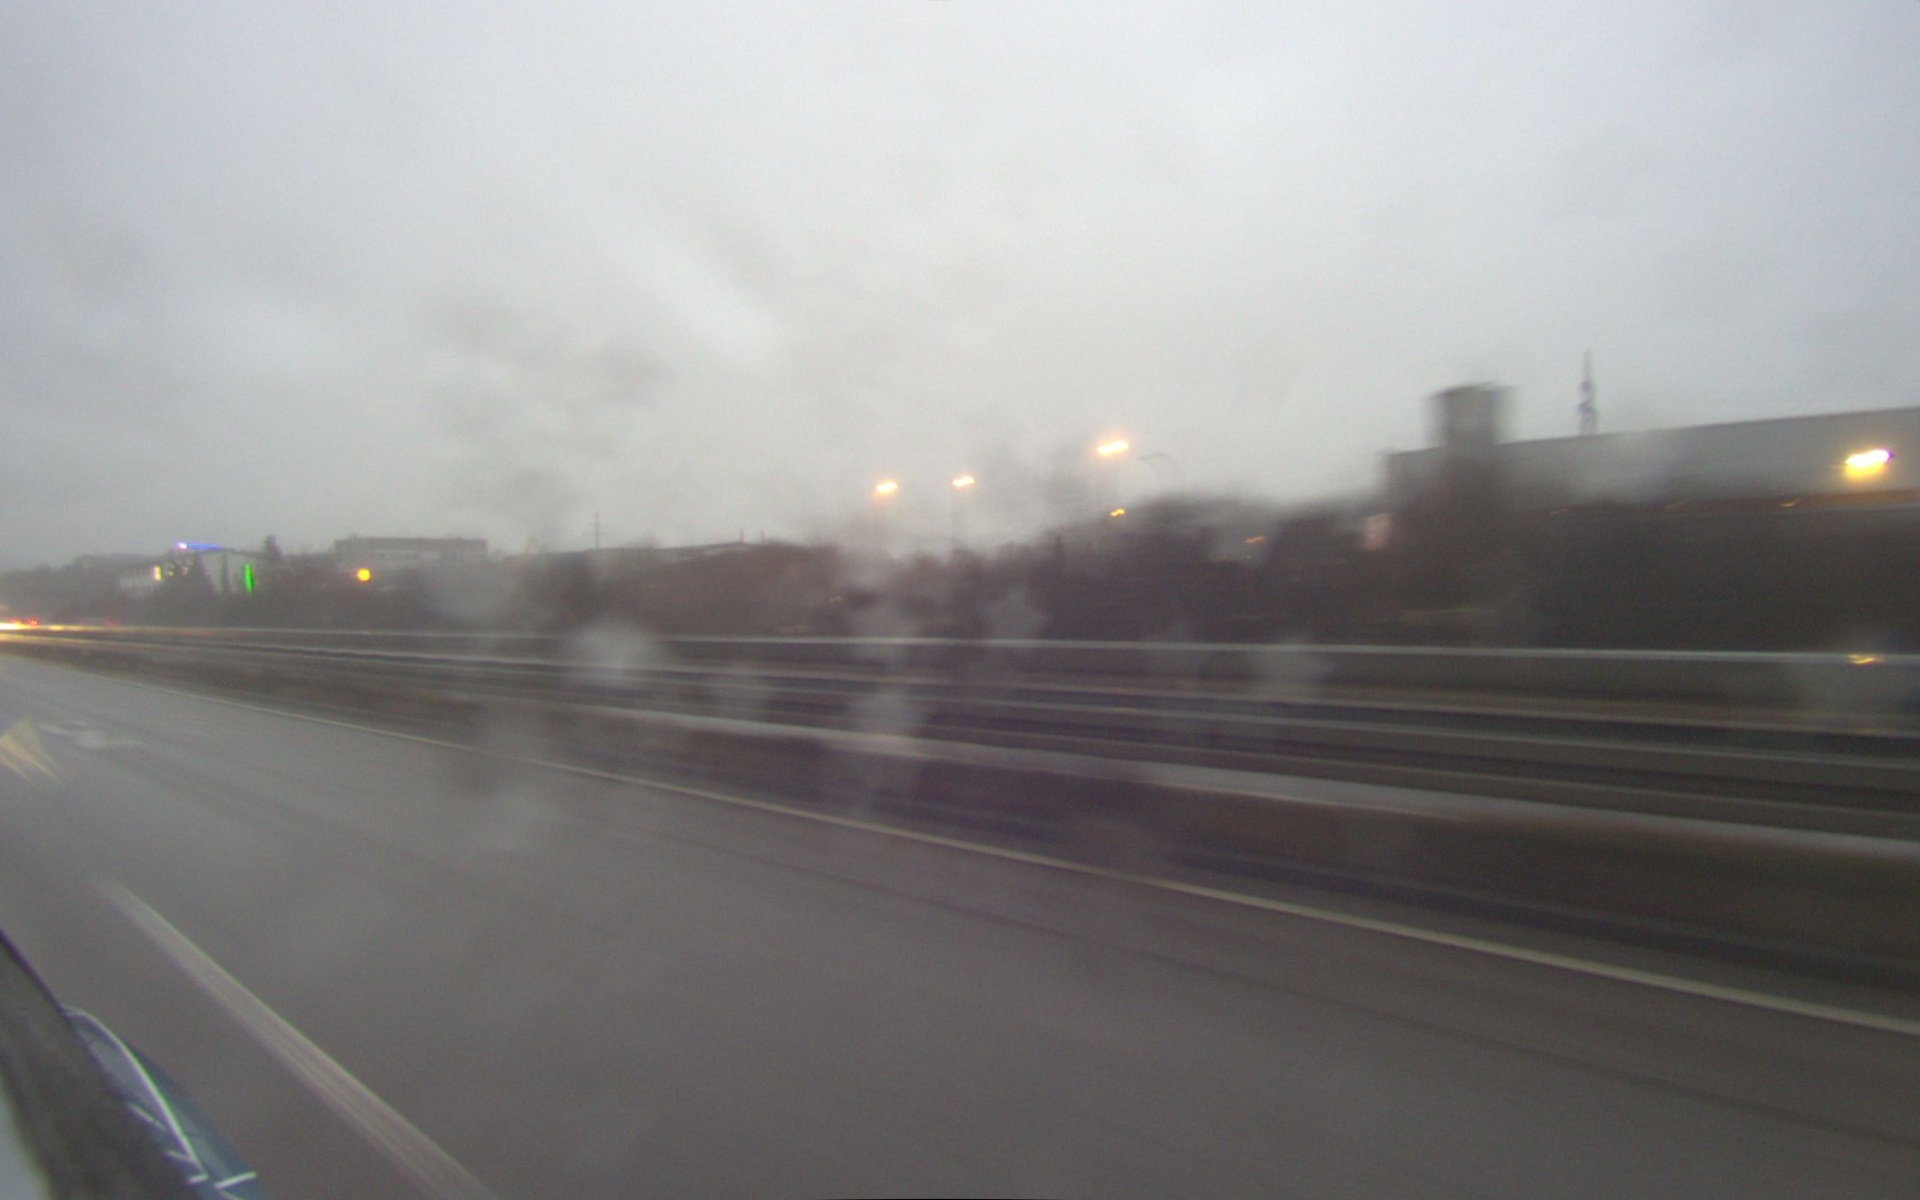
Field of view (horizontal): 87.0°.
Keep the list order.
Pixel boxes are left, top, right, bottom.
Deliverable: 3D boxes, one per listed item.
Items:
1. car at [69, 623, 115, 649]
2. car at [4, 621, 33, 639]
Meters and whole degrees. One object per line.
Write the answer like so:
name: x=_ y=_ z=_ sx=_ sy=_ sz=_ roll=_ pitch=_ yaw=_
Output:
car: x=-57.156 y=2.338 z=66.618 sx=3.998 sy=1.652 sz=1.722 roll=-1 pitch=-1 yaw=41
car: x=-91.074 y=2.906 z=97.892 sx=3.998 sy=1.652 sz=1.722 roll=-1 pitch=-1 yaw=41
